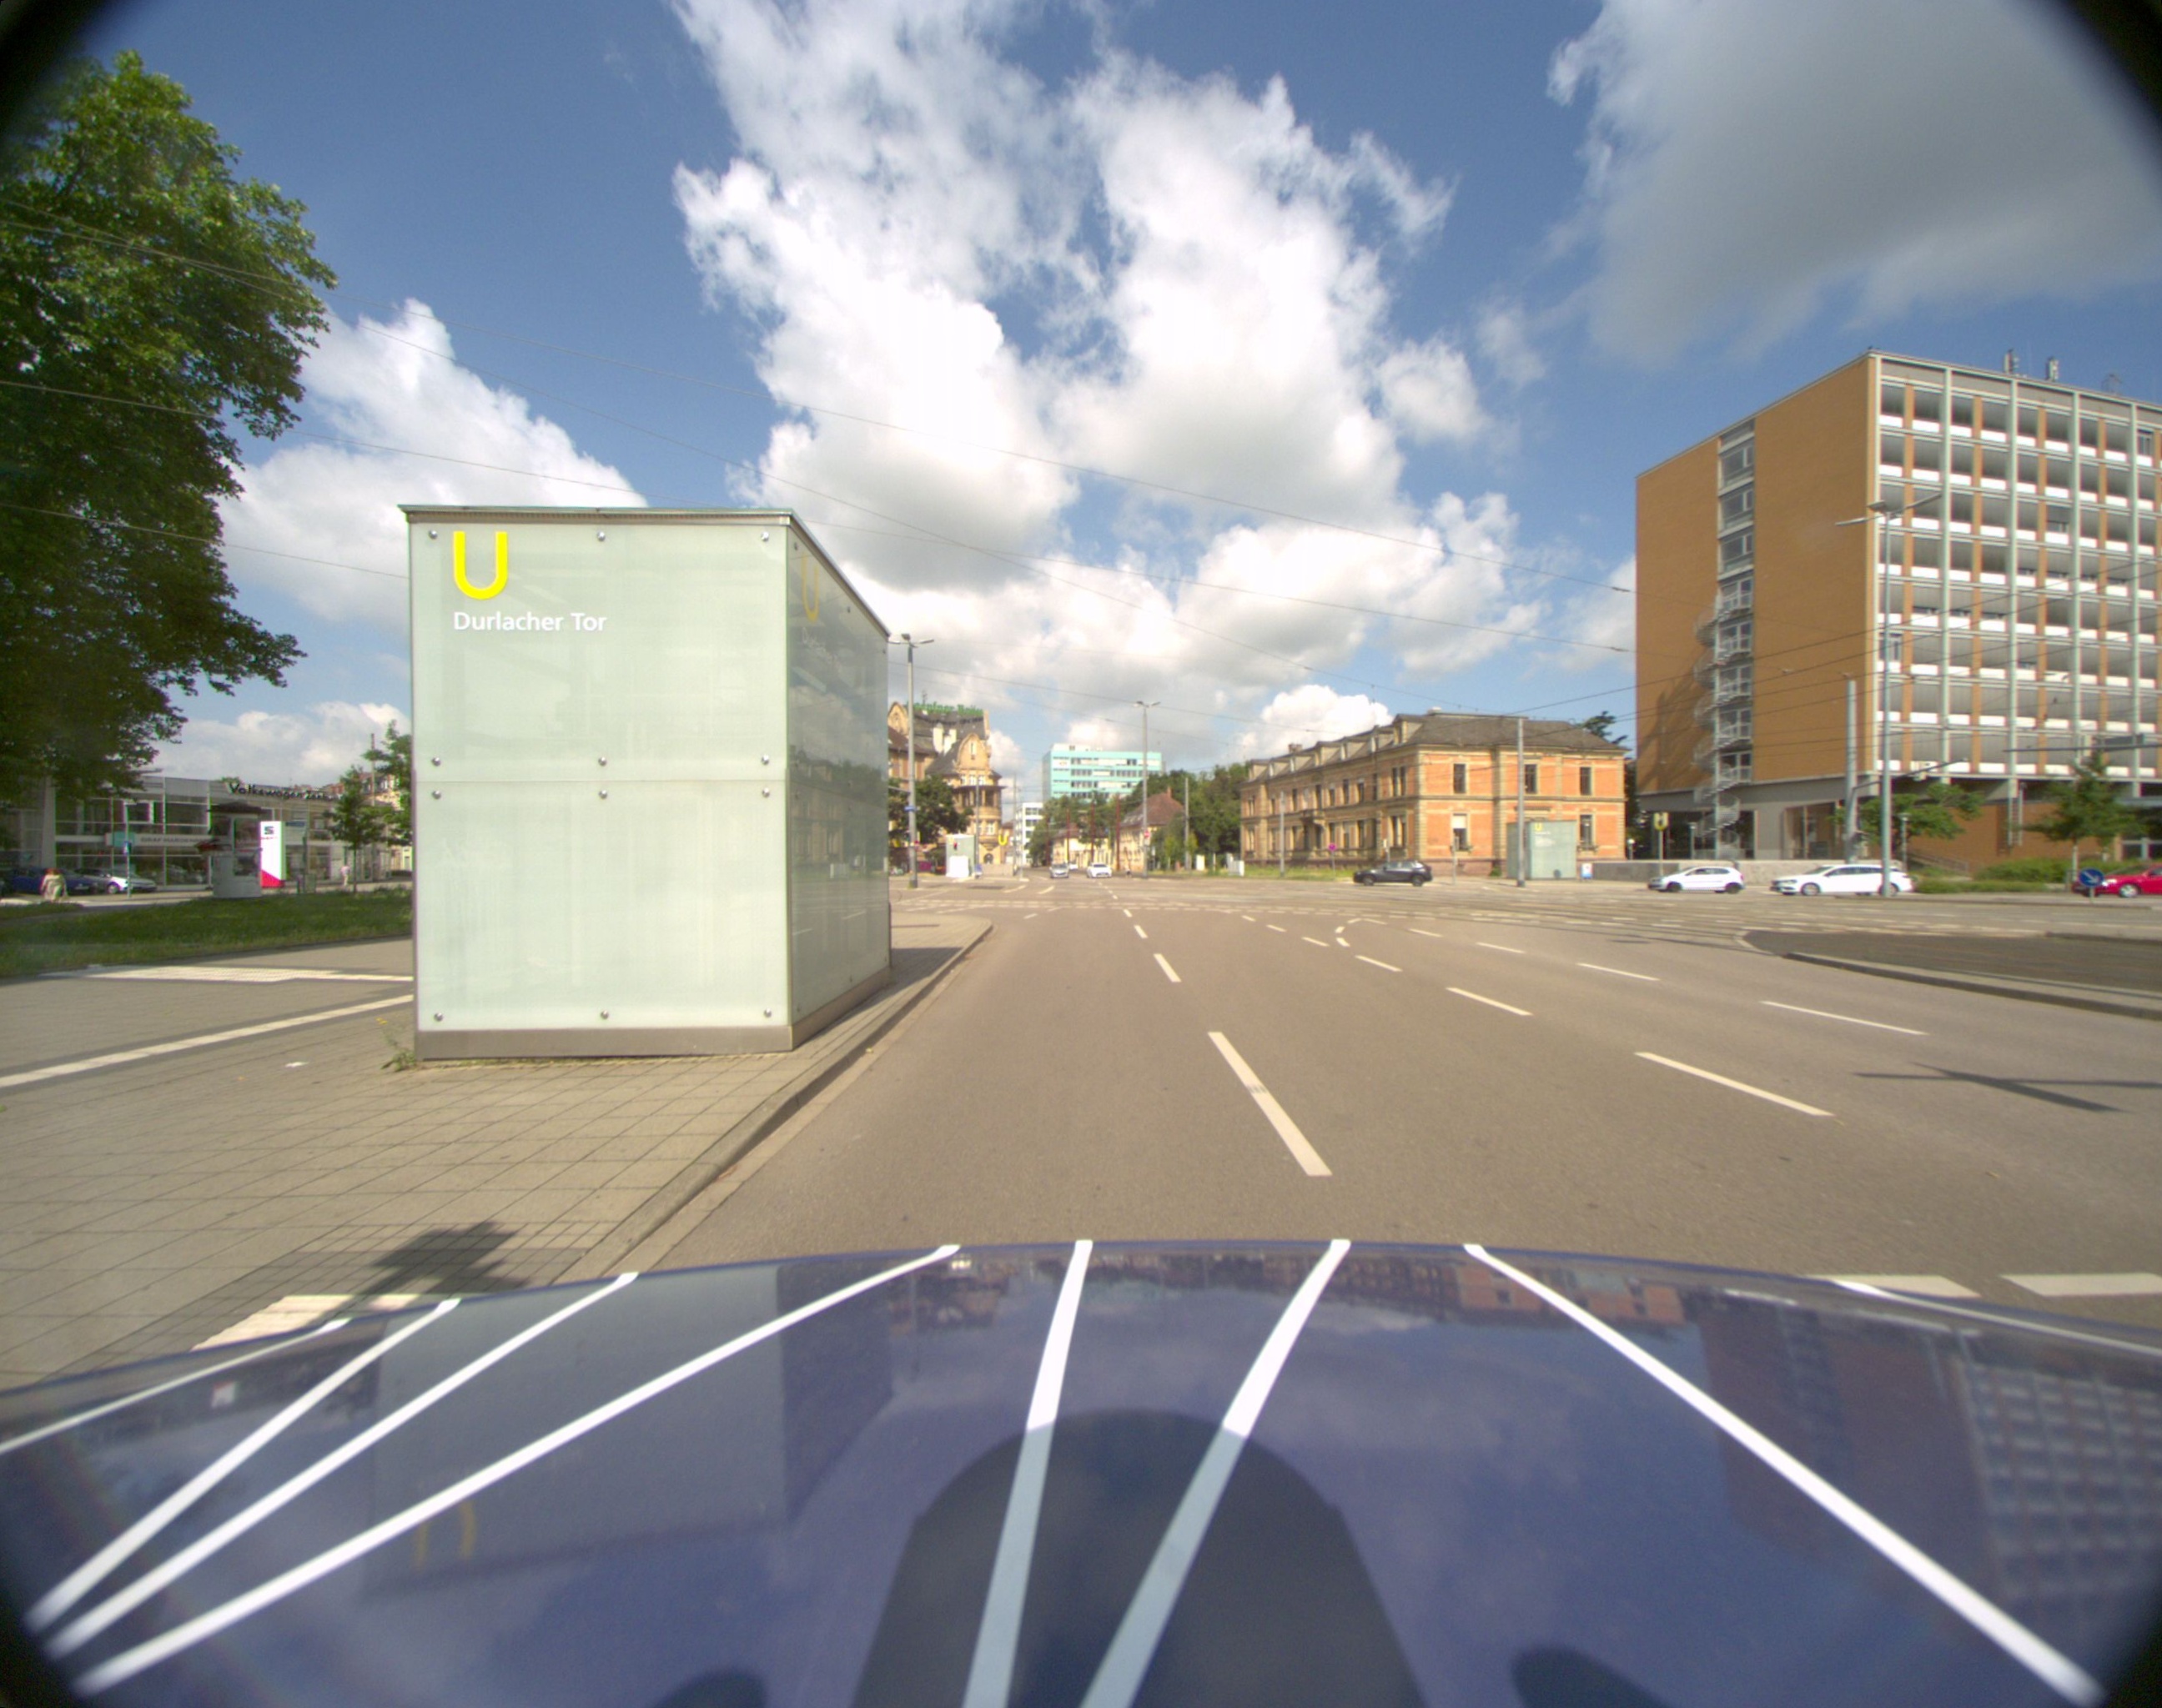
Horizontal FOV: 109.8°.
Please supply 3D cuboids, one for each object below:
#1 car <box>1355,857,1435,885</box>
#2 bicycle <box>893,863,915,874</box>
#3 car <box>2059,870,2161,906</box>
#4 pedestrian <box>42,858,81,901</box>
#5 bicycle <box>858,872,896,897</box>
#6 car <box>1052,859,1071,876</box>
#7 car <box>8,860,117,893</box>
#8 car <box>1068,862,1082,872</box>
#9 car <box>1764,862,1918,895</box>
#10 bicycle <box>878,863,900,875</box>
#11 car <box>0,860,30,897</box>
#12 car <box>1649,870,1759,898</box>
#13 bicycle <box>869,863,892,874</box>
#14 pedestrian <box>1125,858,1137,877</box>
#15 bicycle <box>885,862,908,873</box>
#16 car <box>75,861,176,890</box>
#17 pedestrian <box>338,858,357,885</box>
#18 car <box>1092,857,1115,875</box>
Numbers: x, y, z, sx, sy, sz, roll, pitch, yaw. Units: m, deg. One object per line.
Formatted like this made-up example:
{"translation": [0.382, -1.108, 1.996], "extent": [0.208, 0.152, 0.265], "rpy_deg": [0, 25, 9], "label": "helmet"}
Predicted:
{"translation": [18.367, 1.042, 44.516], "extent": [4.202, 1.566, 1.650], "rpy_deg": [-1, -2, 23], "label": "car"}
{"translation": [-19.043, 1.550, 81.800], "extent": [2.677, 1.159, 0.763], "rpy_deg": [0, 0, 36], "label": "bicycle"}
{"translation": [44.166, 1.393, 31.607], "extent": [4.057, 1.458, 1.649], "rpy_deg": [-1, -2, 16], "label": "car"}
{"translation": [-47.731, 1.171, 35.585], "extent": [0.807, 2.002, 0.811], "rpy_deg": [0, 0, 12], "label": "pedestrian"}
{"translation": [-9.565, 1.416, 35.747], "extent": [0.876, 1.064, 2.199], "rpy_deg": [1, 2, 11], "label": "bicycle"}
{"translation": [-1.882, 1.370, 74.759], "extent": [1.837, 1.586, 4.001], "rpy_deg": [0, -2, -1], "label": "car"}
{"translation": [-55.436, 1.266, 41.379], "extent": [3.993, 1.715, 2.003], "rpy_deg": [-1, -2, 12], "label": "car"}
{"translation": [-1.256, 2.616, 156.060], "extent": [2.001, 2.001, 3.996], "rpy_deg": [0, -2, -15], "label": "car"}
{"translation": [34.674, 1.151, 34.816], "extent": [4.665, 1.420, 1.766], "rpy_deg": [-1, -2, 18], "label": "car"}
{"translation": [-20.249, 1.561, 80.094], "extent": [2.677, 1.159, 0.763], "rpy_deg": [0, 0, 35], "label": "bicycle"}
{"translation": [-56.819, 1.280, 38.936], "extent": [3.993, 1.827, 2.002], "rpy_deg": [-1, 1, 13], "label": "car"}
{"translation": [32.129, 1.562, 39.282], "extent": [4.070, 1.376, 1.591], "rpy_deg": [-1, -2, 17], "label": "car"}
{"translation": [-20.897, 1.481, 79.197], "extent": [2.677, 1.158, 0.763], "rpy_deg": [0, -2, 35], "label": "bicycle"}
{"translation": [3.960, 1.035, 60.192], "extent": [0.543, 1.507, 0.744], "rpy_deg": [0, 0, 41], "label": "pedestrian"}
{"translation": [-19.673, 1.440, 80.942], "extent": [2.677, 1.159, 0.763], "rpy_deg": [0, 0, 35], "label": "bicycle"}
{"translation": [-56.317, 1.280, 44.828], "extent": [3.994, 1.673, 1.936], "rpy_deg": [-1, -2, 8], "label": "car"}
{"translation": [-54.342, 1.267, 56.286], "extent": [0.704, 2.002, 0.870], "rpy_deg": [0, 0, -20], "label": "pedestrian"}
{"translation": [2.073, 1.124, 70.992], "extent": [1.956, 1.586, 4.508], "rpy_deg": [0, -2, -1], "label": "car"}
